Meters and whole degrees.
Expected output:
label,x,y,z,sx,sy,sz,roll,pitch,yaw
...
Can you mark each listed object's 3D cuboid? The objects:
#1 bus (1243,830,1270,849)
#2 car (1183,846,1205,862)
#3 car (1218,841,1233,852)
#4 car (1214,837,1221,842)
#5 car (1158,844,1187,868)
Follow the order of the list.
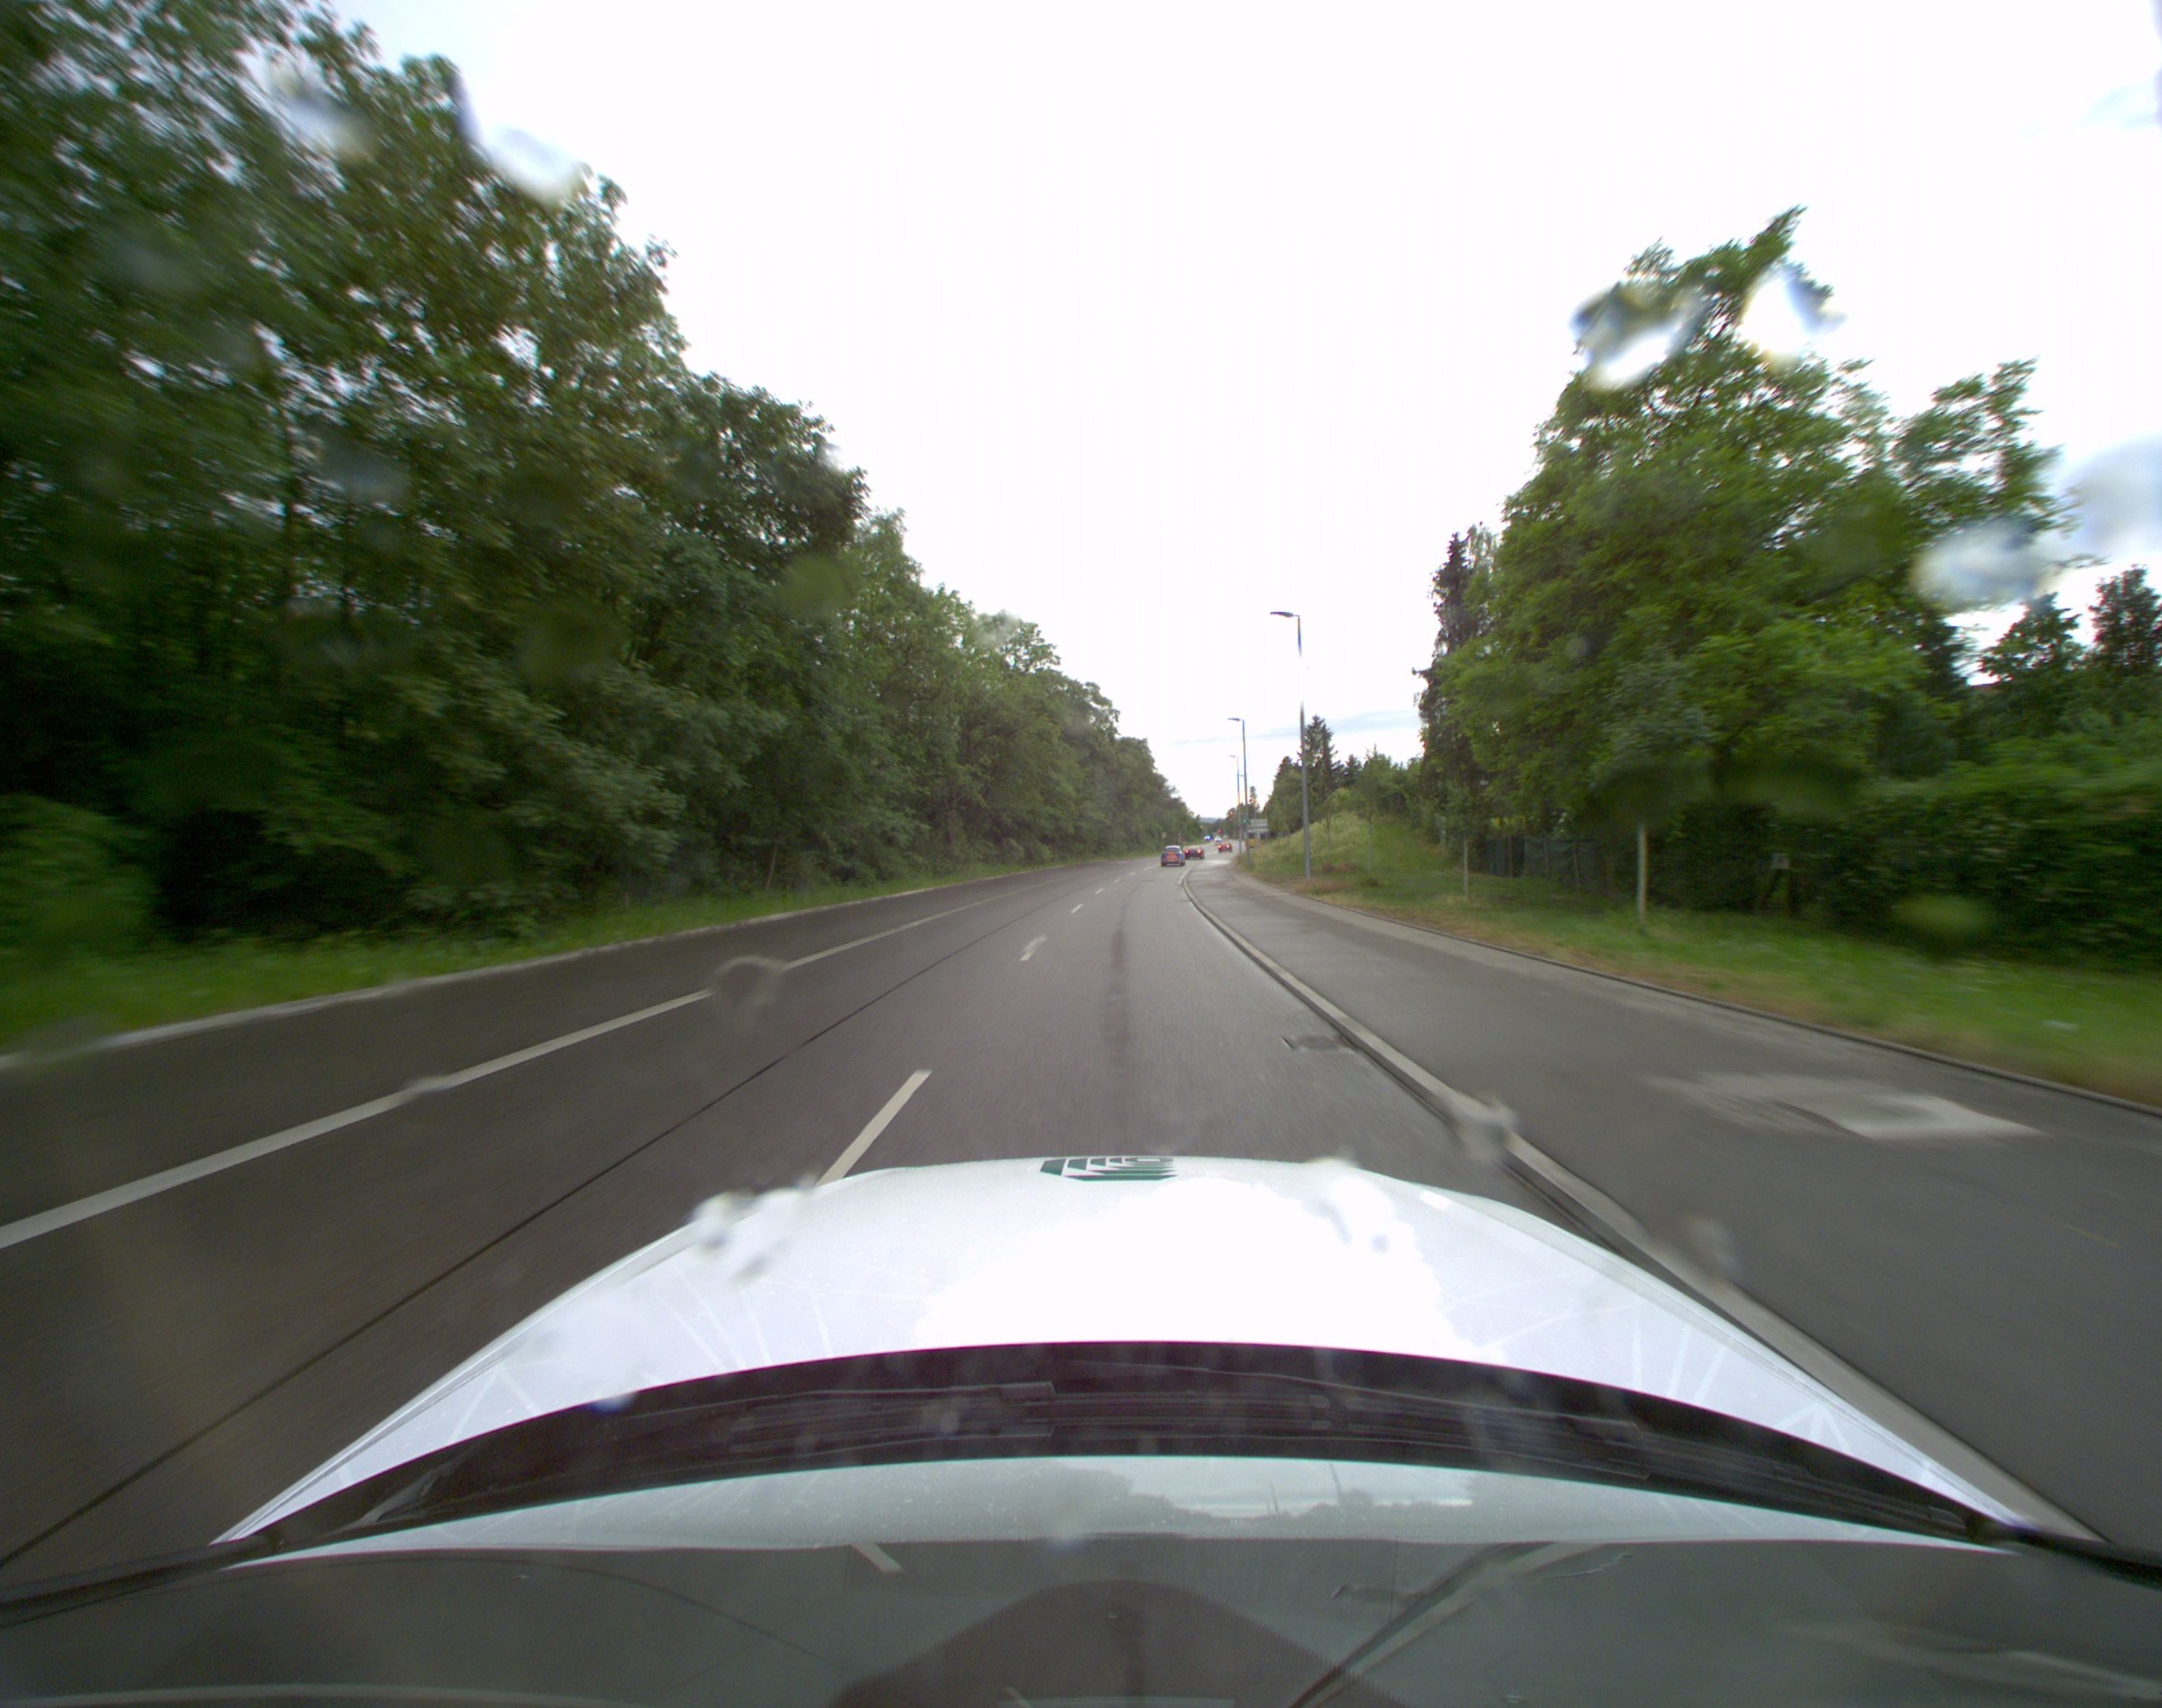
label,x,y,z,sx,sy,sz,roll,pitch,yaw
bus,30.713,-2.608,142.101,2.792,3.142,9.231,-1,1,23
car,11.968,-0.026,85.880,1.914,1.486,3.813,-3,2,12
car,21.674,-1.099,122.041,1.980,1.552,4.015,-1,1,13
car,40.699,-4.291,242.637,1.982,1.420,4.009,-1,1,7
car,7.258,0.130,64.410,1.981,1.689,4.012,-3,2,10
